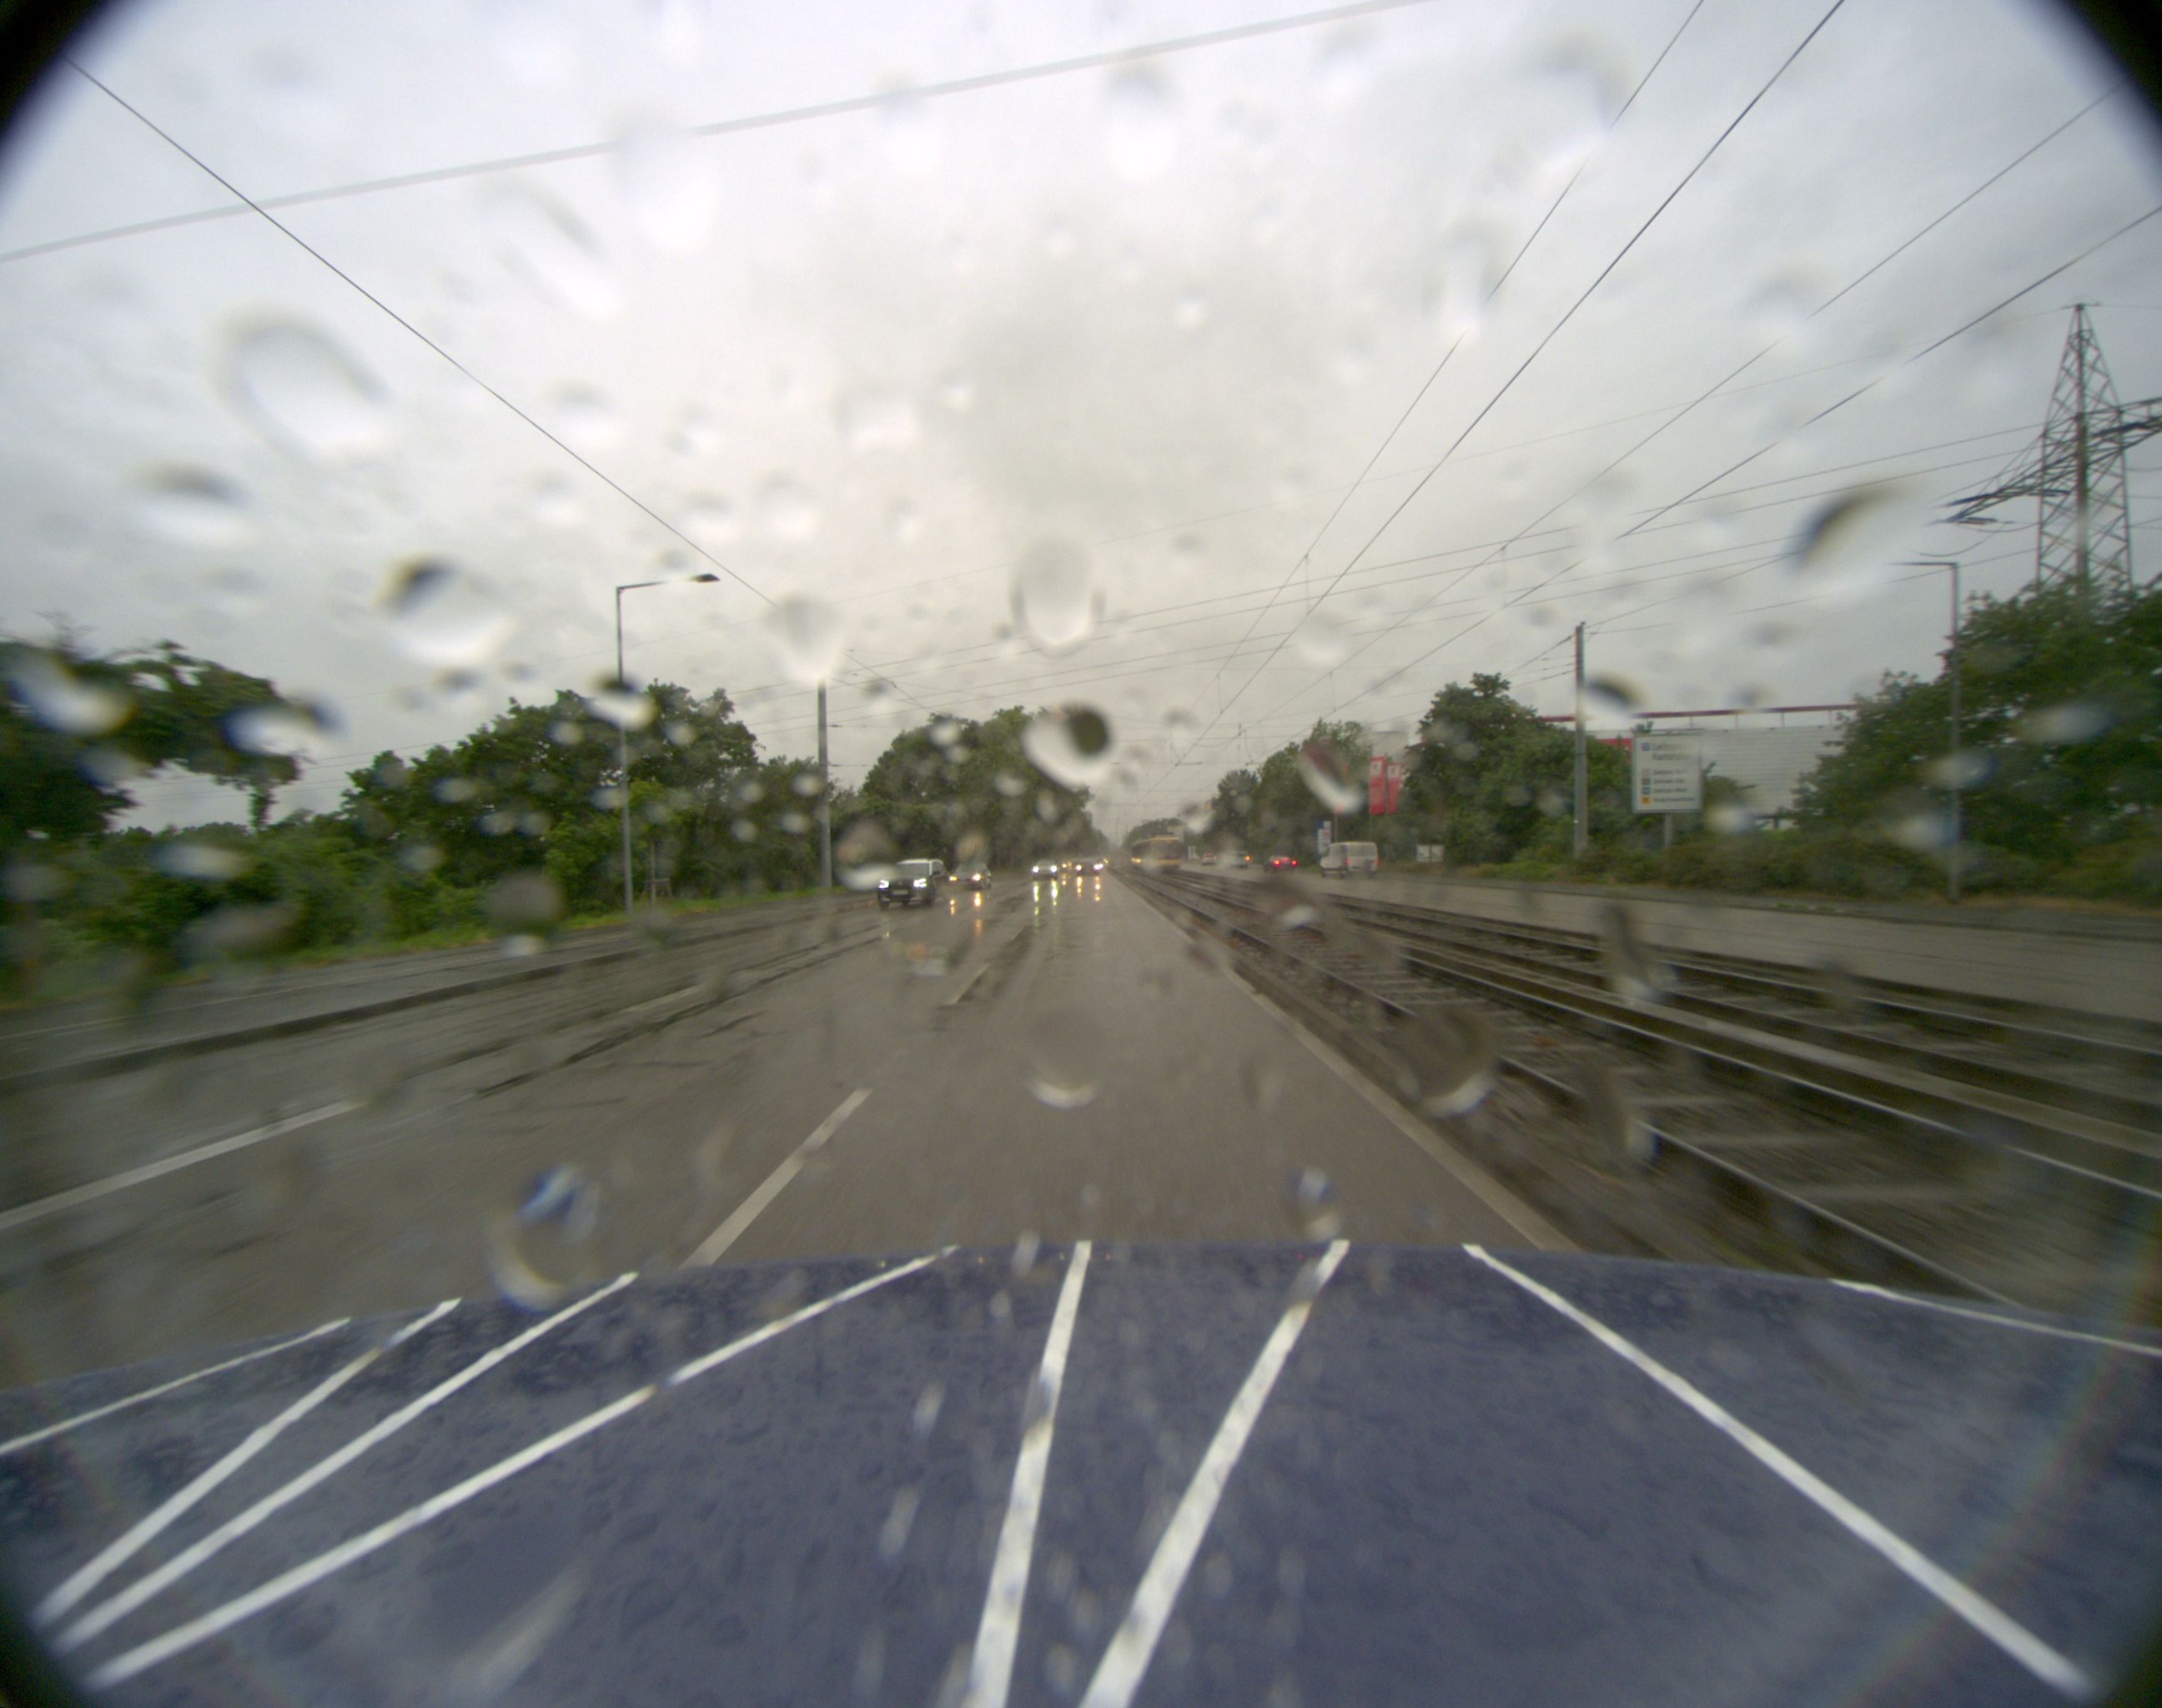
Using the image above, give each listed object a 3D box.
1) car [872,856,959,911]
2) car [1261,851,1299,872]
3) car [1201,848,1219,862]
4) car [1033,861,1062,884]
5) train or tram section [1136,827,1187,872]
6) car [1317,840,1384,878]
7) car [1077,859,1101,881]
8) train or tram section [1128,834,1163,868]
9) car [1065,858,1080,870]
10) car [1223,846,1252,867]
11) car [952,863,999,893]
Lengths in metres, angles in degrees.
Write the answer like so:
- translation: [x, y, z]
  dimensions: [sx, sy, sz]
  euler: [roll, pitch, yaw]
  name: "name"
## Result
- translation: [-5.722, 0.964, 26.907]
  dimensions: [1.797, 1.692, 4.764]
  euler: [-3, -1, 2]
  name: "car"
- translation: [16.765, 0.638, 64.328]
  dimensions: [1.901, 1.631, 4.730]
  euler: [-3, -1, 0]
  name: "car"
- translation: [18.263, 0.202, 107.796]
  dimensions: [1.868, 1.903, 4.000]
  euler: [-3, 0, 0]
  name: "car"
- translation: [-2.348, 1.268, 53.648]
  dimensions: [1.807, 1.521, 3.645]
  euler: [-3, 0, 0]
  name: "car"
- translation: [7.549, -0.306, 74.168]
  dimensions: [2.893, 3.683, 19.530]
  euler: [-3, -1, 0]
  name: "train or tram section"
- translation: [17.306, 0.341, 49.167]
  dimensions: [2.156, 2.284, 5.983]
  euler: [2, 0, 0]
  name: "car"
- translation: [0.666, 1.288, 62.445]
  dimensions: [1.815, 1.692, 4.001]
  euler: [-2, 0, 2]
  name: "car"
- translation: [7.679, -0.271, 92.908]
  dimensions: [2.872, 3.683, 17.891]
  euler: [-3, -1, 0]
  name: "train or tram section"
- translation: [-1.168, 1.407, 106.714]
  dimensions: [1.846, 1.572, 3.838]
  euler: [-3, 0, 0]
  name: "car"
- translation: [16.898, 0.298, 82.429]
  dimensions: [2.095, 2.088, 4.730]
  euler: [-3, 0, 0]
  name: "car"
- translation: [-5.539, 1.248, 40.366]
  dimensions: [1.783, 1.419, 4.001]
  euler: [-2, 0, 2]
  name: "car"
